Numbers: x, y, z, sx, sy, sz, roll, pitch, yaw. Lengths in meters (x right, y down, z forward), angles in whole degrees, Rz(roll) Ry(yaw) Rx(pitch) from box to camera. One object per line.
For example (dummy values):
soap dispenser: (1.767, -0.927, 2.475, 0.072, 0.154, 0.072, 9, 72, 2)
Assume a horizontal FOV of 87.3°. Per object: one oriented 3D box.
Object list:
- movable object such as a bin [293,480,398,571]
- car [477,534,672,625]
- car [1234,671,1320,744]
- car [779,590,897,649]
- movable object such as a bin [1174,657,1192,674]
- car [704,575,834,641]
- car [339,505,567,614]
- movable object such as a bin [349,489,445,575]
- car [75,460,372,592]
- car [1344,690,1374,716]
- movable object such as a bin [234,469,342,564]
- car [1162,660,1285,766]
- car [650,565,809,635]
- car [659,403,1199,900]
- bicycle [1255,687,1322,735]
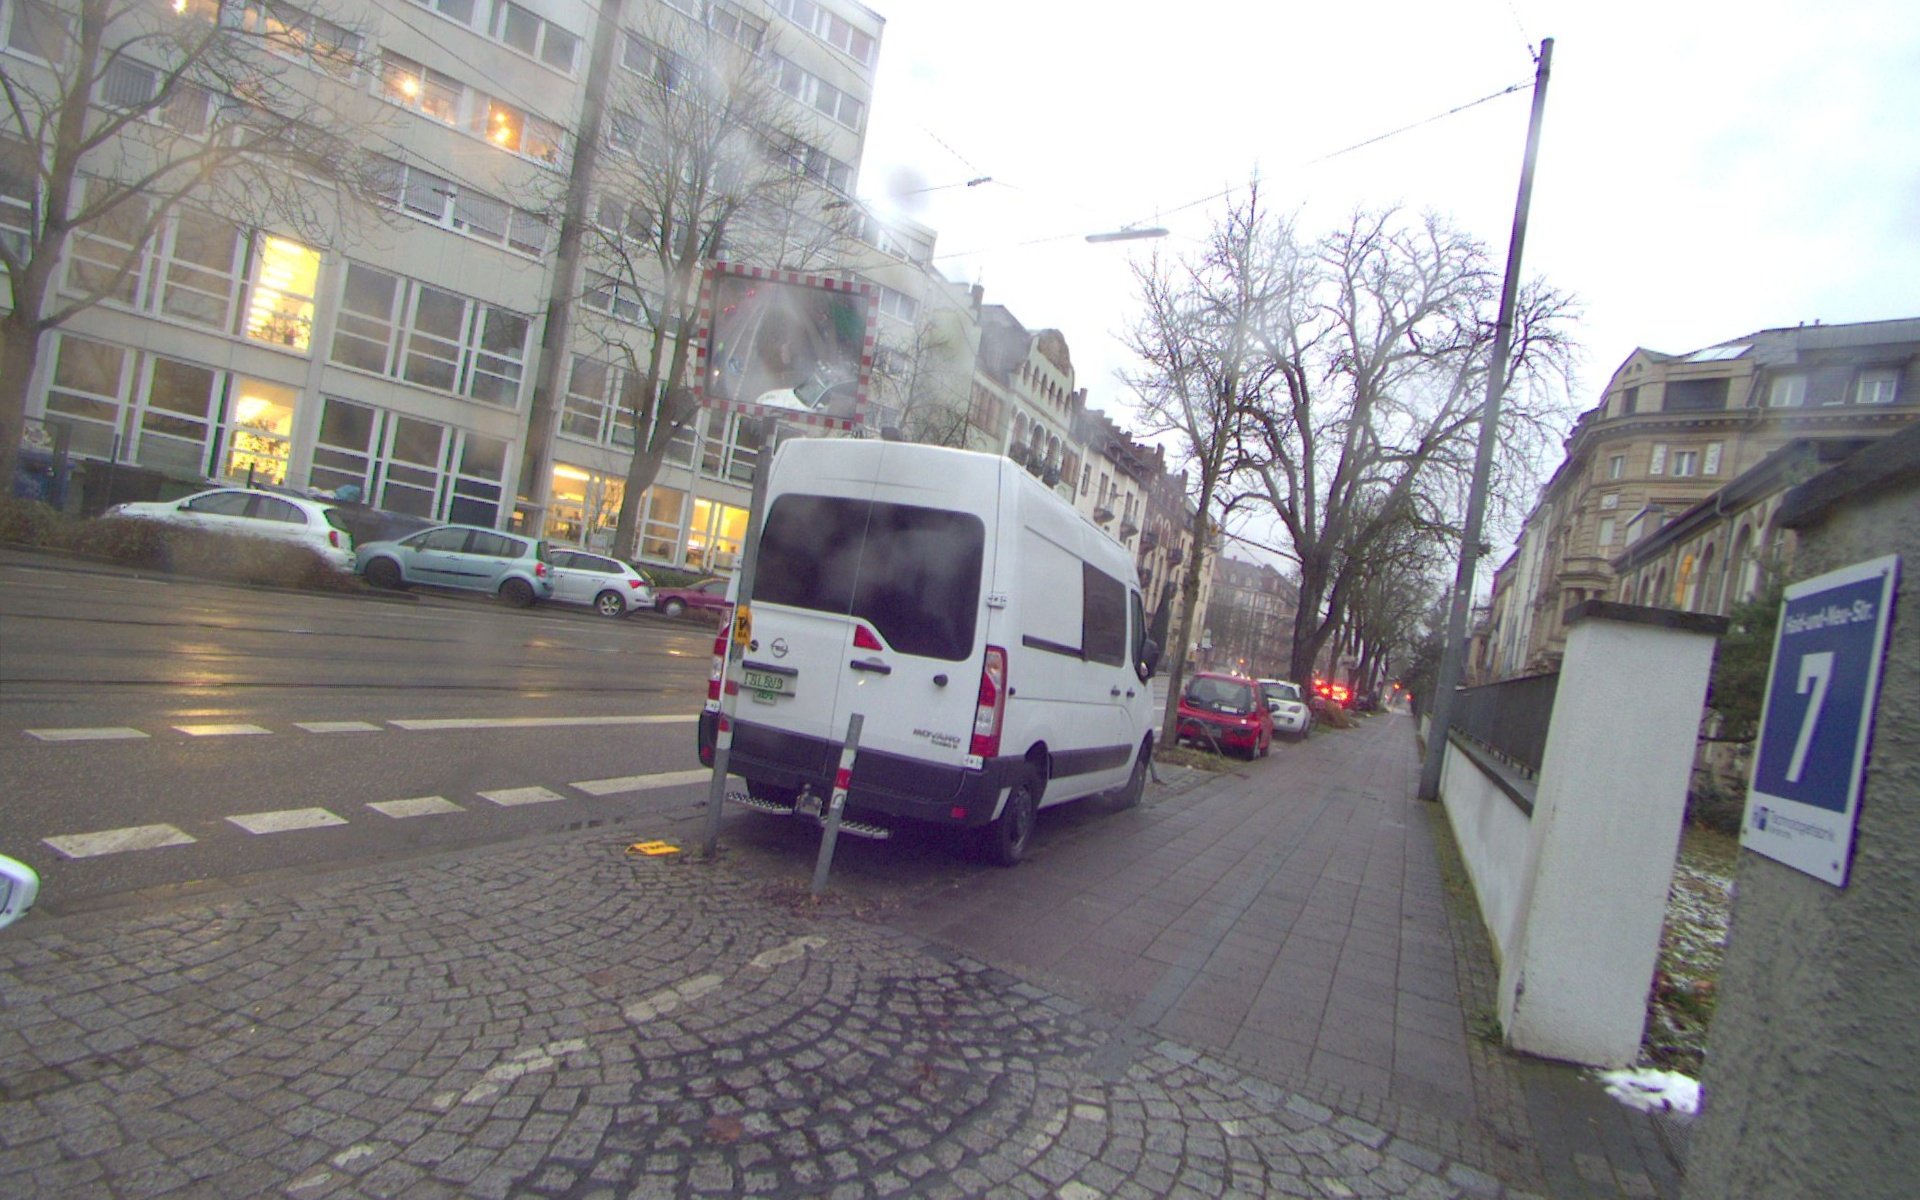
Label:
movable object such as a bin: (-15.067, -1.818, 24.693, 1.547, 1.883, 1.392, 9, 1, 26)
car: (-9.159, -0.444, 24.192, 3.934, 1.460, 1.735, 10, -1, -8)
car: (8.594, 2.852, 27.098, 1.666, 1.537, 3.637, 9, -1, 24)
car: (-4.394, 0.709, 36.176, 3.802, 1.440, 1.728, 10, 0, -21)
movable object such as a bin: (23.483, 6.860, 105.813, 1.388, 1.549, 1.364, 9, 0, 25)
car: (-6.235, 0.284, 33.056, 3.936, 1.480, 1.734, 10, -1, -10)
car: (-10.690, -0.834, 21.520, 3.943, 1.582, 1.730, 10, 0, -17)
movable object such as a bin: (-14.482, -1.737, 25.909, 1.547, 1.883, 1.316, 9, 1, 26)
car: (-13.018, -1.259, 18.071, 3.825, 1.570, 1.685, 10, 0, -20)
car: (28.398, 7.314, 71.477, 1.652, 1.477, 4.043, 9, -1, 24)
movable object such as a bin: (-15.648, -1.930, 23.426, 1.547, 1.883, 1.316, 9, 1, 26)
car: (5.135, 2.103, 19.308, 1.618, 1.541, 3.573, 10, 0, 22)
car: (-6.931, -0.003, 30.275, 4.294, 1.367, 1.740, 10, -1, -23)
car: (0.312, 0.397, 8.251, 2.092, 2.516, 5.440, 9, -1, 22)
bicycle: (9.728, 3.269, 29.791, 1.688, 1.084, 0.663, 9, 1, 25)
